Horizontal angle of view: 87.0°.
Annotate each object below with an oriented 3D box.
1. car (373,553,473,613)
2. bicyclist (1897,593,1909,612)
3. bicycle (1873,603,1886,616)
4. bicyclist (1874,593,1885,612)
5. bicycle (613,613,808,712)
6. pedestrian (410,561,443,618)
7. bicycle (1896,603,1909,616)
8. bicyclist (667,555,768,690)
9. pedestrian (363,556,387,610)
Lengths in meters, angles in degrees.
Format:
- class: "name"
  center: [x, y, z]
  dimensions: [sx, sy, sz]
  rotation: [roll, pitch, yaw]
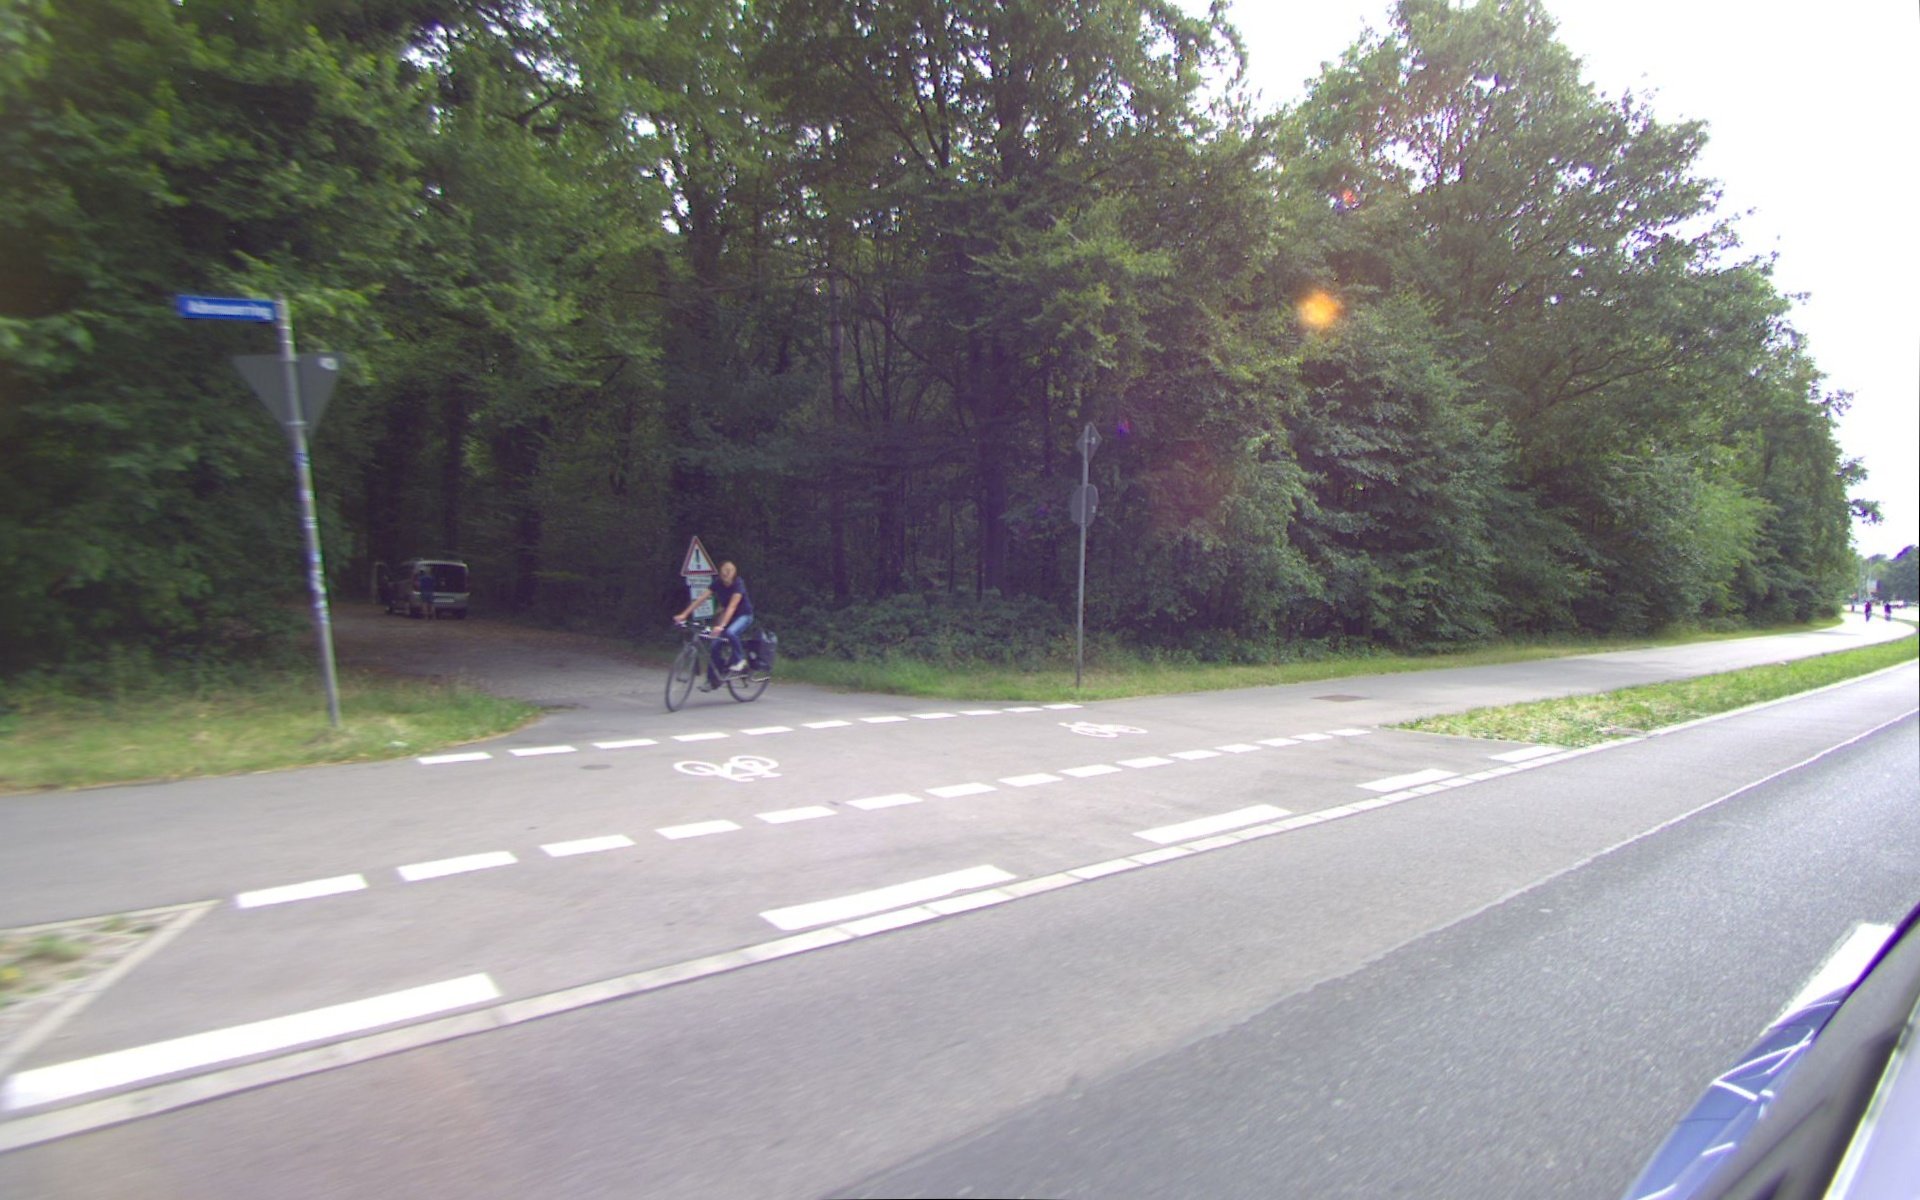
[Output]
- class: "car"
  center: [-17.785, -0.513, 33.430]
  dimensions: [1.966, 1.817, 3.990]
  rotation: [-1, -1, -43]
- class: "bicyclist"
  center: [71.305, 0.178, 76.529]
  dimensions: [0.519, 1.433, 1.170]
  rotation: [1, 1, 39]
- class: "bicycle"
  center: [70.262, 0.703, 77.327]
  dimensions: [0.565, 0.923, 1.860]
  rotation: [5, 2, 38]
- class: "bicyclist"
  center: [70.204, 0.161, 77.276]
  dimensions: [0.519, 1.433, 1.170]
  rotation: [-1, 0, 39]
- class: "bicycle"
  center: [-2.828, 0.670, 11.679]
  dimensions: [0.708, 1.006, 2.147]
  rotation: [1, 1, 43]
- class: "pedestrian"
  center: [-16.547, -0.332, 31.367]
  dimensions: [0.745, 1.731, 0.664]
  rotation: [0, -1, -43]
- class: "bicycle"
  center: [71.324, 0.739, 76.574]
  dimensions: [0.565, 0.923, 1.730]
  rotation: [4, 3, 38]
- class: "bicyclist"
  center: [-2.795, 0.240, 11.695]
  dimensions: [0.709, 1.489, 0.887]
  rotation: [1, 0, 43]
- class: "pedestrian"
  center: [-19.006, -0.554, 32.893]
  dimensions: [0.544, 1.731, 0.666]
  rotation: [-1, -1, -20]
